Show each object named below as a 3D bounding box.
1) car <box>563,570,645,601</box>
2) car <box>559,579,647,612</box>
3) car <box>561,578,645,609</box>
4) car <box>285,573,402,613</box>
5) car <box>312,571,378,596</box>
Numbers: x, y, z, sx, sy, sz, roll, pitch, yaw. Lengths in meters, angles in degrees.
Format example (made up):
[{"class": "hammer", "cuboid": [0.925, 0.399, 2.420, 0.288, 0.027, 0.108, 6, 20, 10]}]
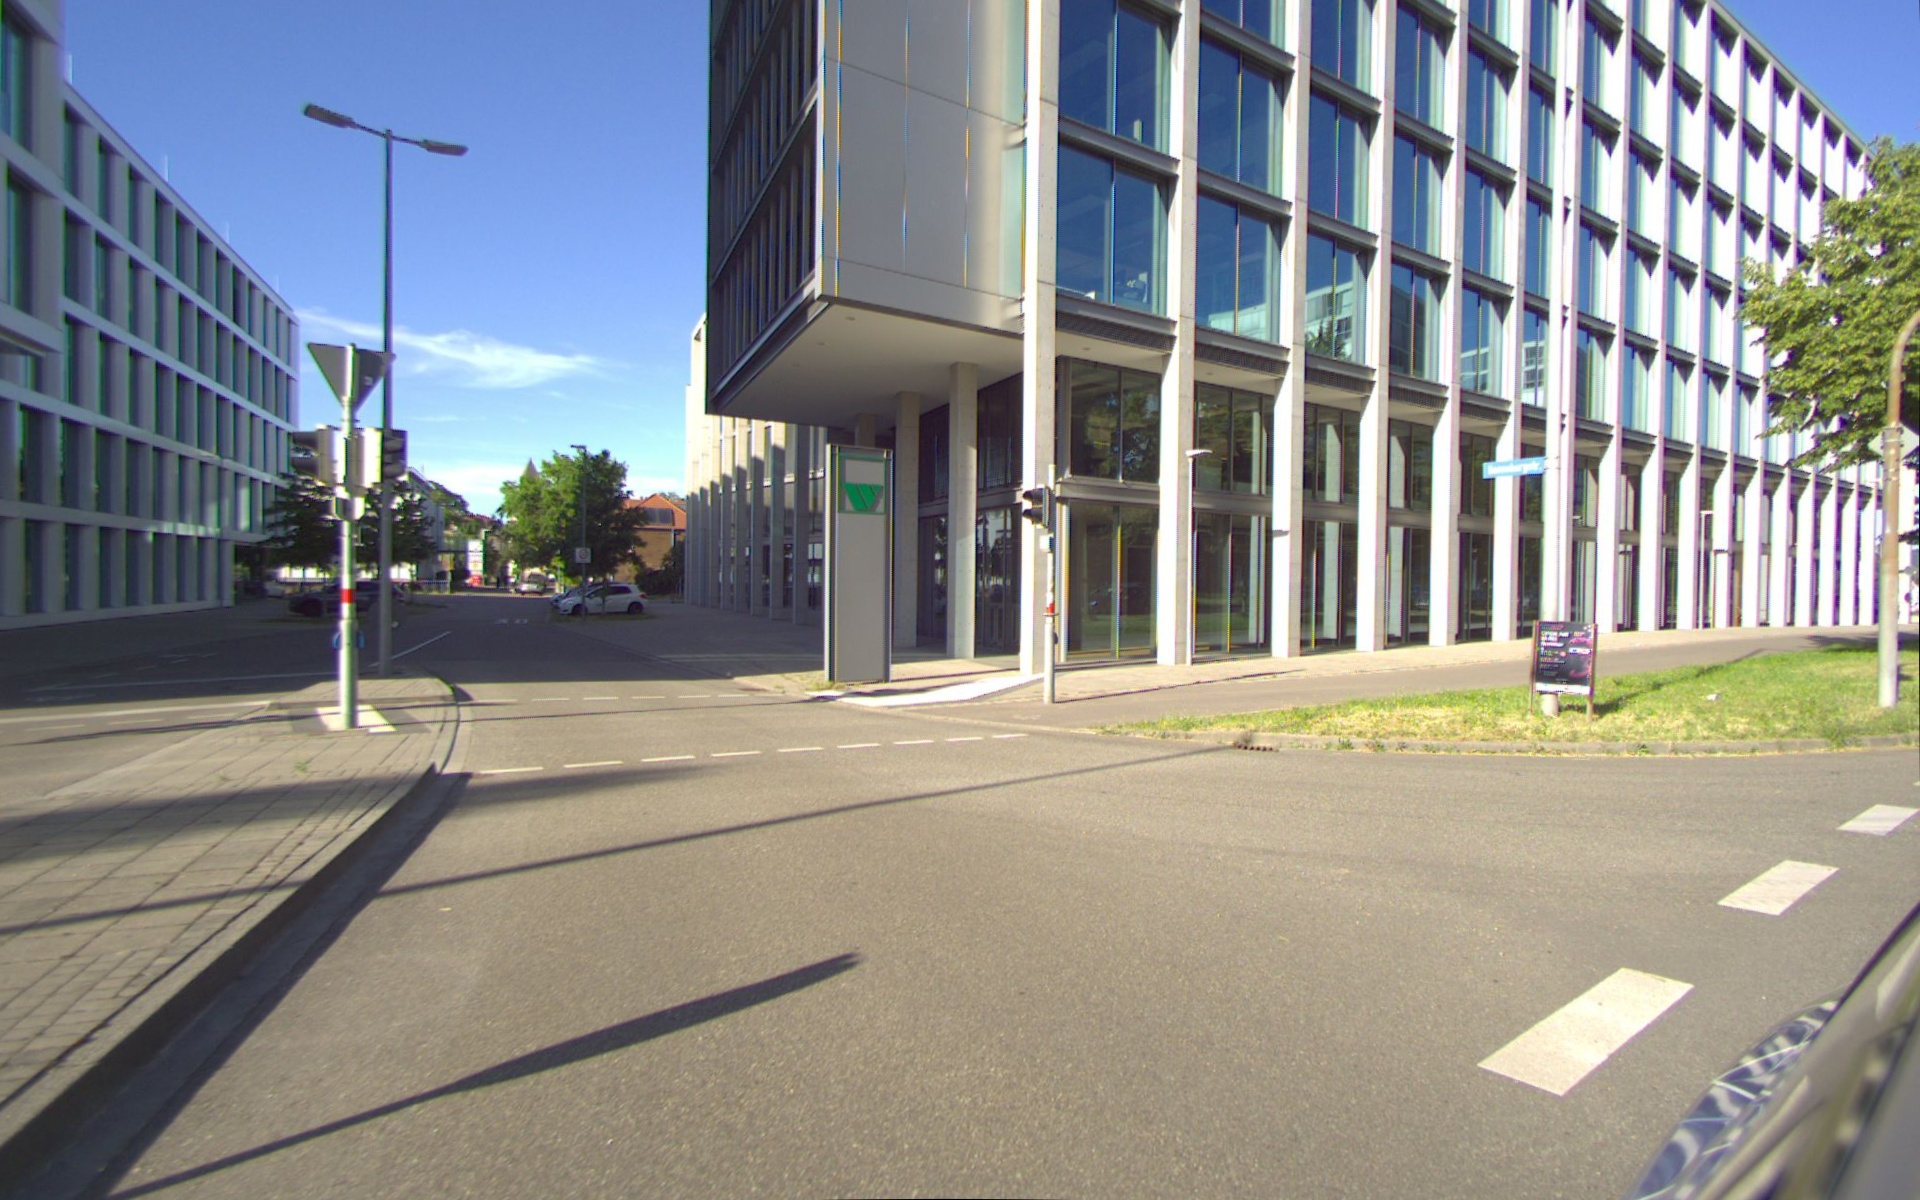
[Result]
[{"class": "car", "cuboid": [-20.479, -0.818, 58.232, 4.365, 1.749, 1.797, 0, 1, -21]}, {"class": "car", "cuboid": [-17.272, -0.239, 48.992, 3.916, 1.523, 1.663, 0, 1, -23]}, {"class": "car", "cuboid": [-18.263, -0.344, 51.776, 3.916, 1.523, 1.663, 0, 1, -23]}, {"class": "car", "cuboid": [-27.335, -0.310, 45.023, 4.205, 1.734, 1.663, 0, 1, -23]}, {"class": "car", "cuboid": [-47.214, -1.266, 77.774, 4.043, 1.816, 1.873, 0, 1, -22]}]
